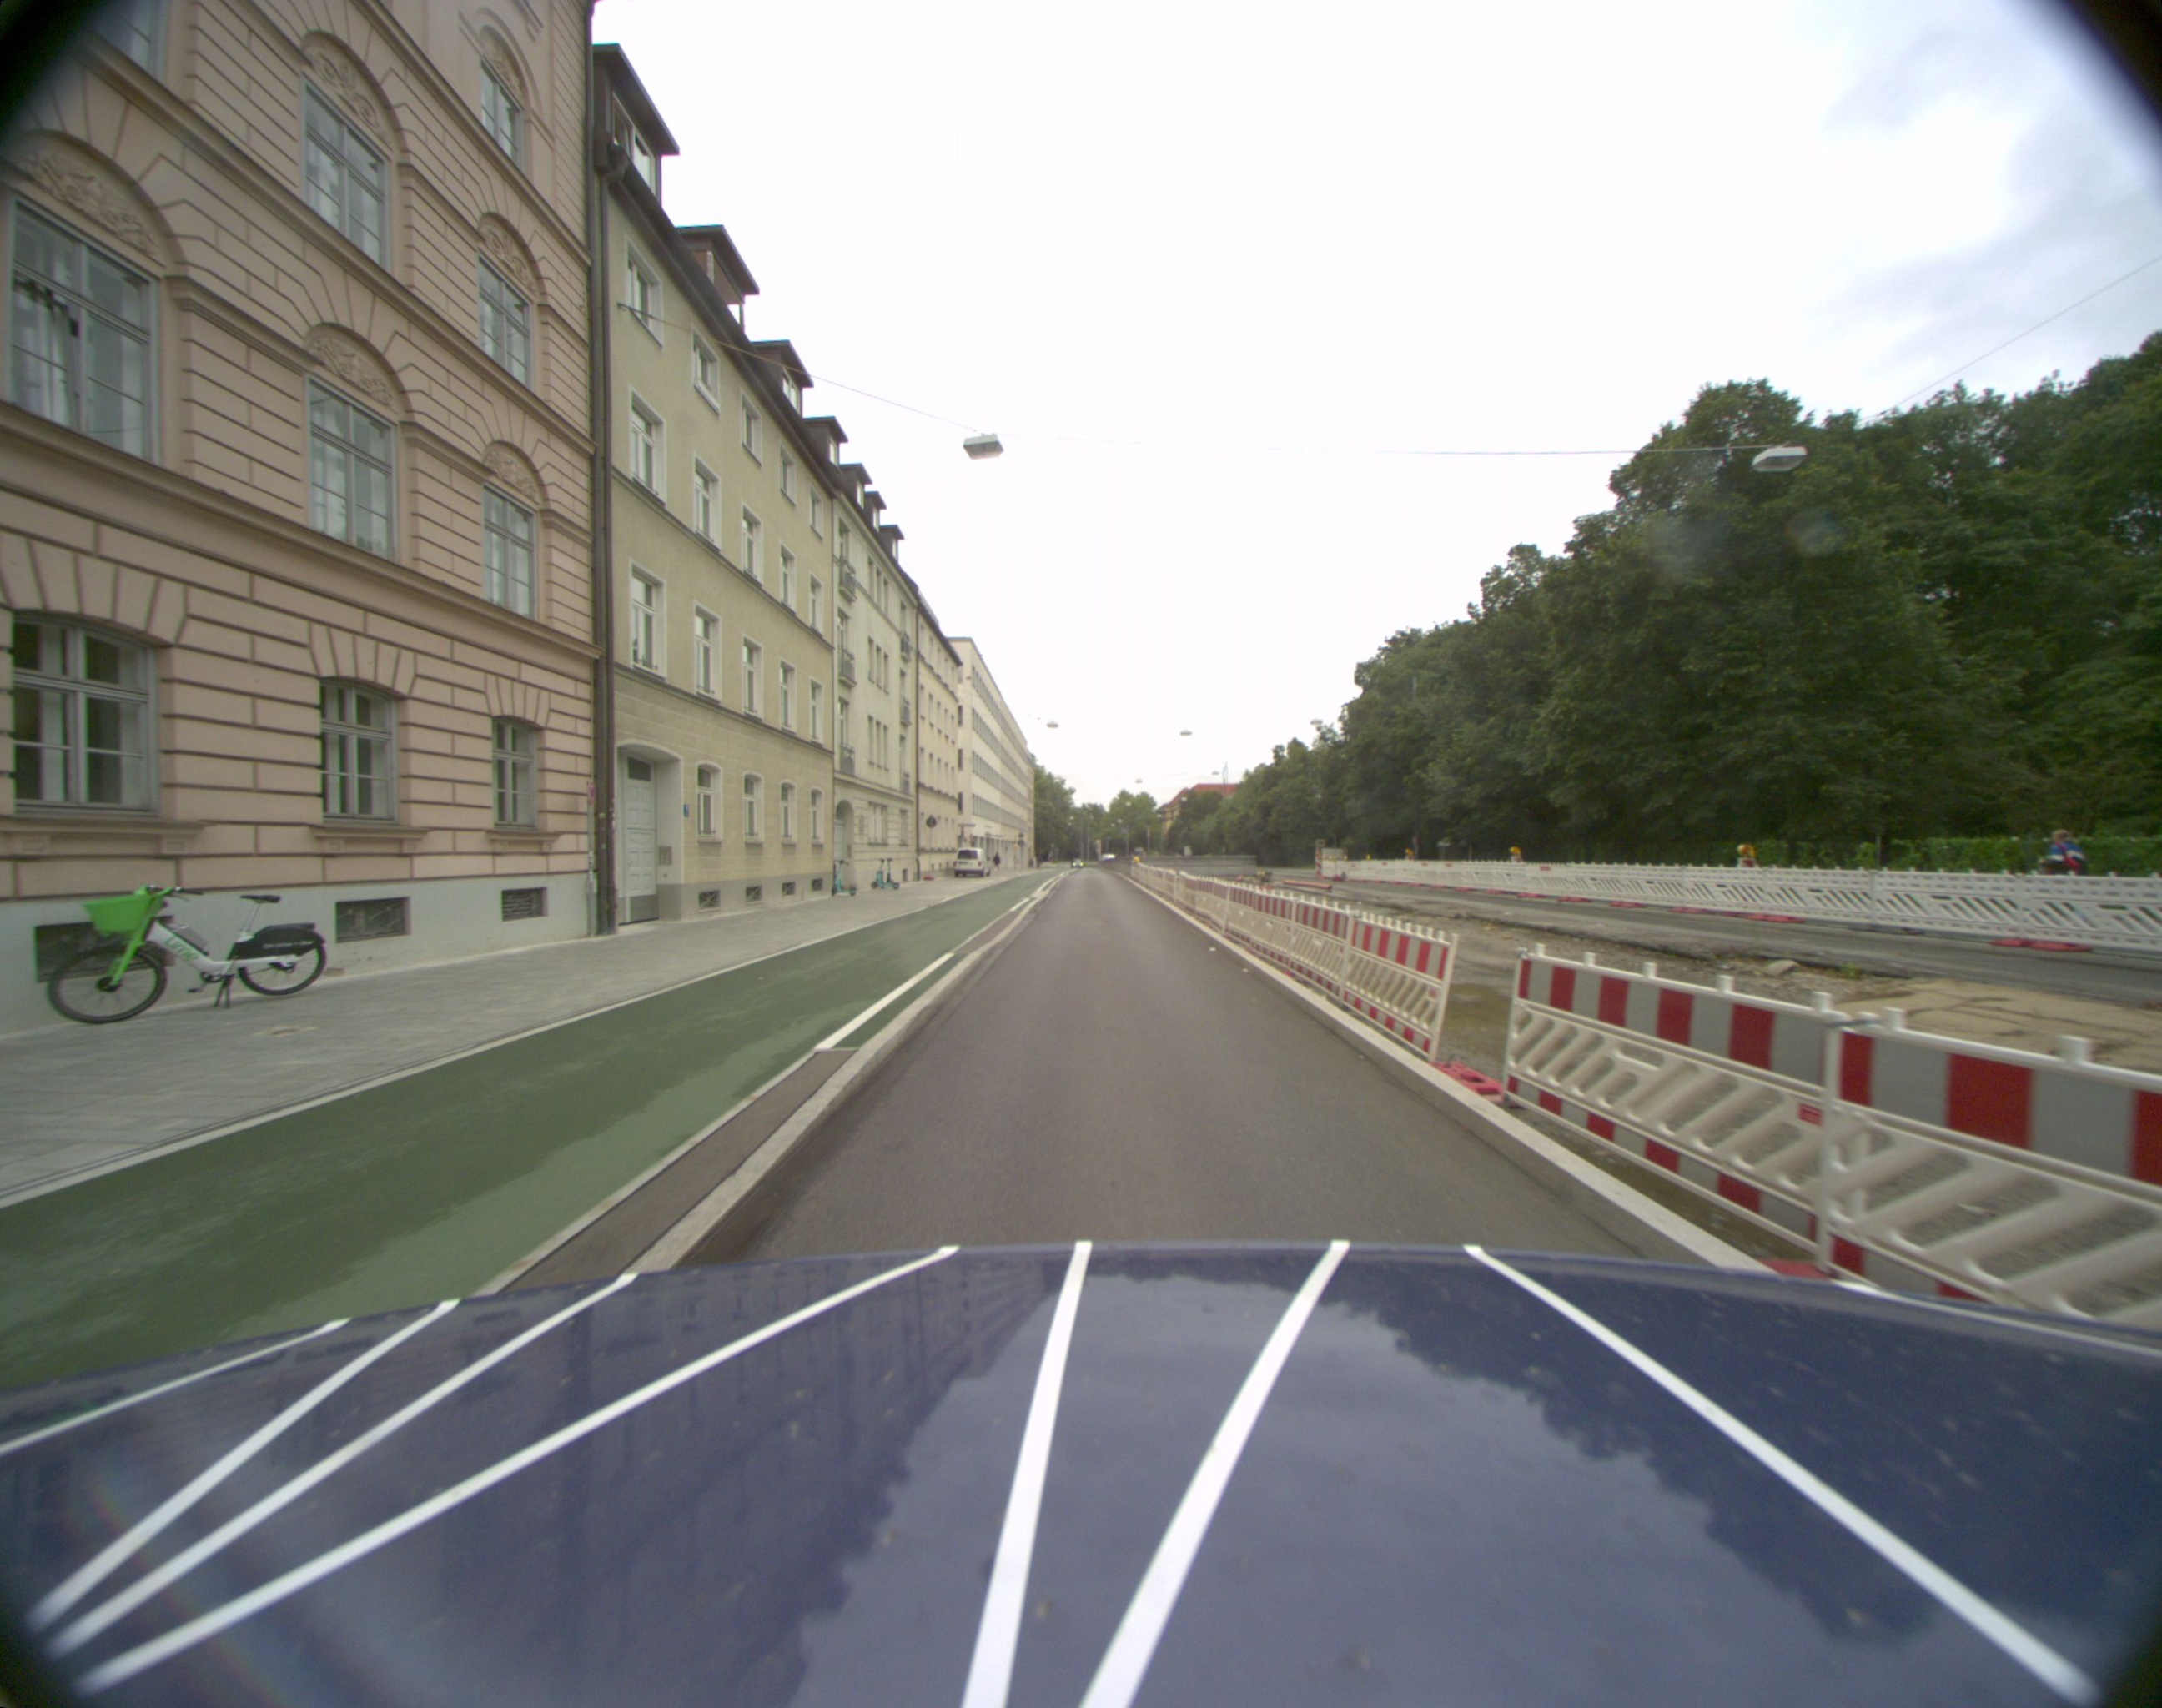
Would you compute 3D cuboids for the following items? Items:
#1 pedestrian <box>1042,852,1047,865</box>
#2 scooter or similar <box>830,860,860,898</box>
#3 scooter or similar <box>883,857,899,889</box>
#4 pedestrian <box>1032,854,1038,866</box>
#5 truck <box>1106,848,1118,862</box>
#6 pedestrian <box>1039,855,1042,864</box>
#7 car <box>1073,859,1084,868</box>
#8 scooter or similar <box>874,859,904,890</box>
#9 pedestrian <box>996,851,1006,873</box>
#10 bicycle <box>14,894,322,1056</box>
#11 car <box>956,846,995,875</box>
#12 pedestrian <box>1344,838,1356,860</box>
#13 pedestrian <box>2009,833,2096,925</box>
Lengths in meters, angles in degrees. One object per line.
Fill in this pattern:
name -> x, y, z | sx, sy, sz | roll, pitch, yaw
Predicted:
pedestrian -> -5.107, 0.582, 106.555 | 0.514, 1.825, 0.602 | 3, 1, 1
scooter or similar -> -7.900, 0.832, 25.437 | 0.246, 1.224, 1.121 | 2, 2, 26
scooter or similar -> -7.843, 0.766, 31.395 | 0.387, 1.265, 1.119 | 1, 1, 0
pedestrian -> -6.488, 0.799, 107.460 | 0.754, 1.610, 0.704 | 3, 1, 1
truck -> 5.875, 0.214, 145.246 | 2.058, 2.625, 4.411 | 0, 1, -1
pedestrian -> -5.605, 0.794, 105.934 | 0.368, 1.239, 0.470 | 3, 1, 1
car -> -0.558, 1.873, 149.591 | 1.999, 1.738, 3.999 | -1, 0, -1
scooter or similar -> -7.669, 0.806, 30.315 | 1.121, 1.224, 0.246 | 1, 2, -33
pedestrian -> -5.990, 0.624, 57.194 | 0.666, 1.626, 0.737 | 1, 1, 0
bicycle -> -8.086, 0.999, 6.861 | 0.426, 1.167, 1.733 | 1, 1, 18
car -> -6.631, 0.408, 48.096 | 1.738, 1.740, 4.435 | 1, 0, 1
pedestrian -> 20.561, -0.380, 58.074 | 0.665, 1.631, 0.698 | -1, 1, 1
pedestrian -> 17.348, 0.431, 13.583 | 0.665, 1.593, 0.698 | -1, 1, 1
